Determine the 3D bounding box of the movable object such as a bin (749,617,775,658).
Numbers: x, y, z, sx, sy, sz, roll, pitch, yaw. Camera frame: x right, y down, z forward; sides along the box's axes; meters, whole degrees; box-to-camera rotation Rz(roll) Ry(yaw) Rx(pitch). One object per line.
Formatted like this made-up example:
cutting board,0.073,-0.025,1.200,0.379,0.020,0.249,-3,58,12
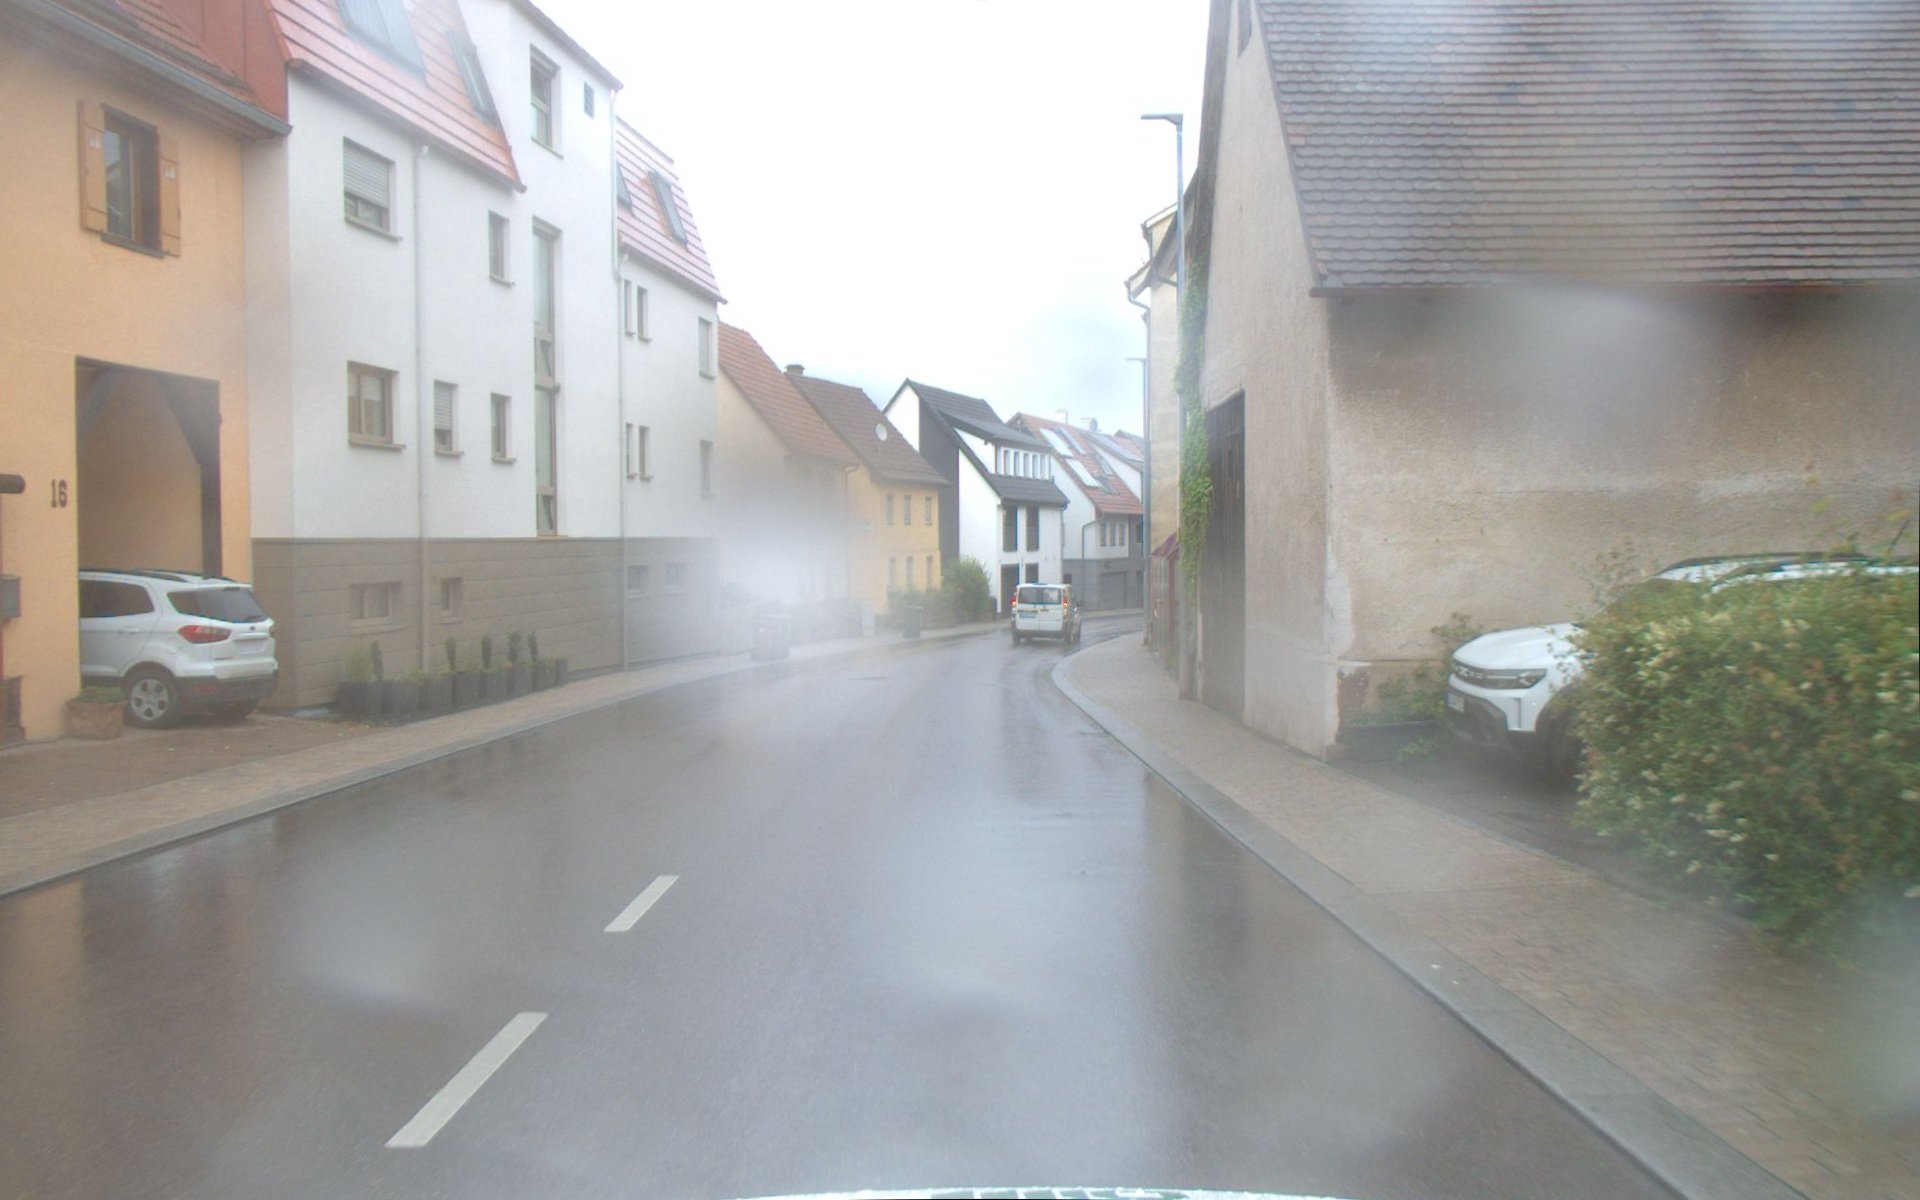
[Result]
movable object such as a bin,-4.682,0.889,39.101,0.495,0.939,0.579,1,0,6

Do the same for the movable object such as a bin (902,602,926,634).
movable object such as a bin,-1.601,0.630,57.329,0.645,1.074,0.764,2,1,10

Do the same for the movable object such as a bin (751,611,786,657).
movable object such as a bin,-4.611,0.820,39.819,0.667,1.085,0.695,1,0,8

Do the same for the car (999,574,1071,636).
car,2.439,0.159,52.839,2.148,1.884,4.307,-1,0,5

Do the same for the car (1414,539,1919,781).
car,5.961,0.426,13.219,4.130,1.677,1.903,-2,0,2

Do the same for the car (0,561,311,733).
car,-9.748,0.475,18.816,3.903,1.699,1.879,3,0,5

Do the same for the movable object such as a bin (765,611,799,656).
movable object such as a bin,-4.377,0.818,40.755,0.667,1.064,0.662,1,0,8
